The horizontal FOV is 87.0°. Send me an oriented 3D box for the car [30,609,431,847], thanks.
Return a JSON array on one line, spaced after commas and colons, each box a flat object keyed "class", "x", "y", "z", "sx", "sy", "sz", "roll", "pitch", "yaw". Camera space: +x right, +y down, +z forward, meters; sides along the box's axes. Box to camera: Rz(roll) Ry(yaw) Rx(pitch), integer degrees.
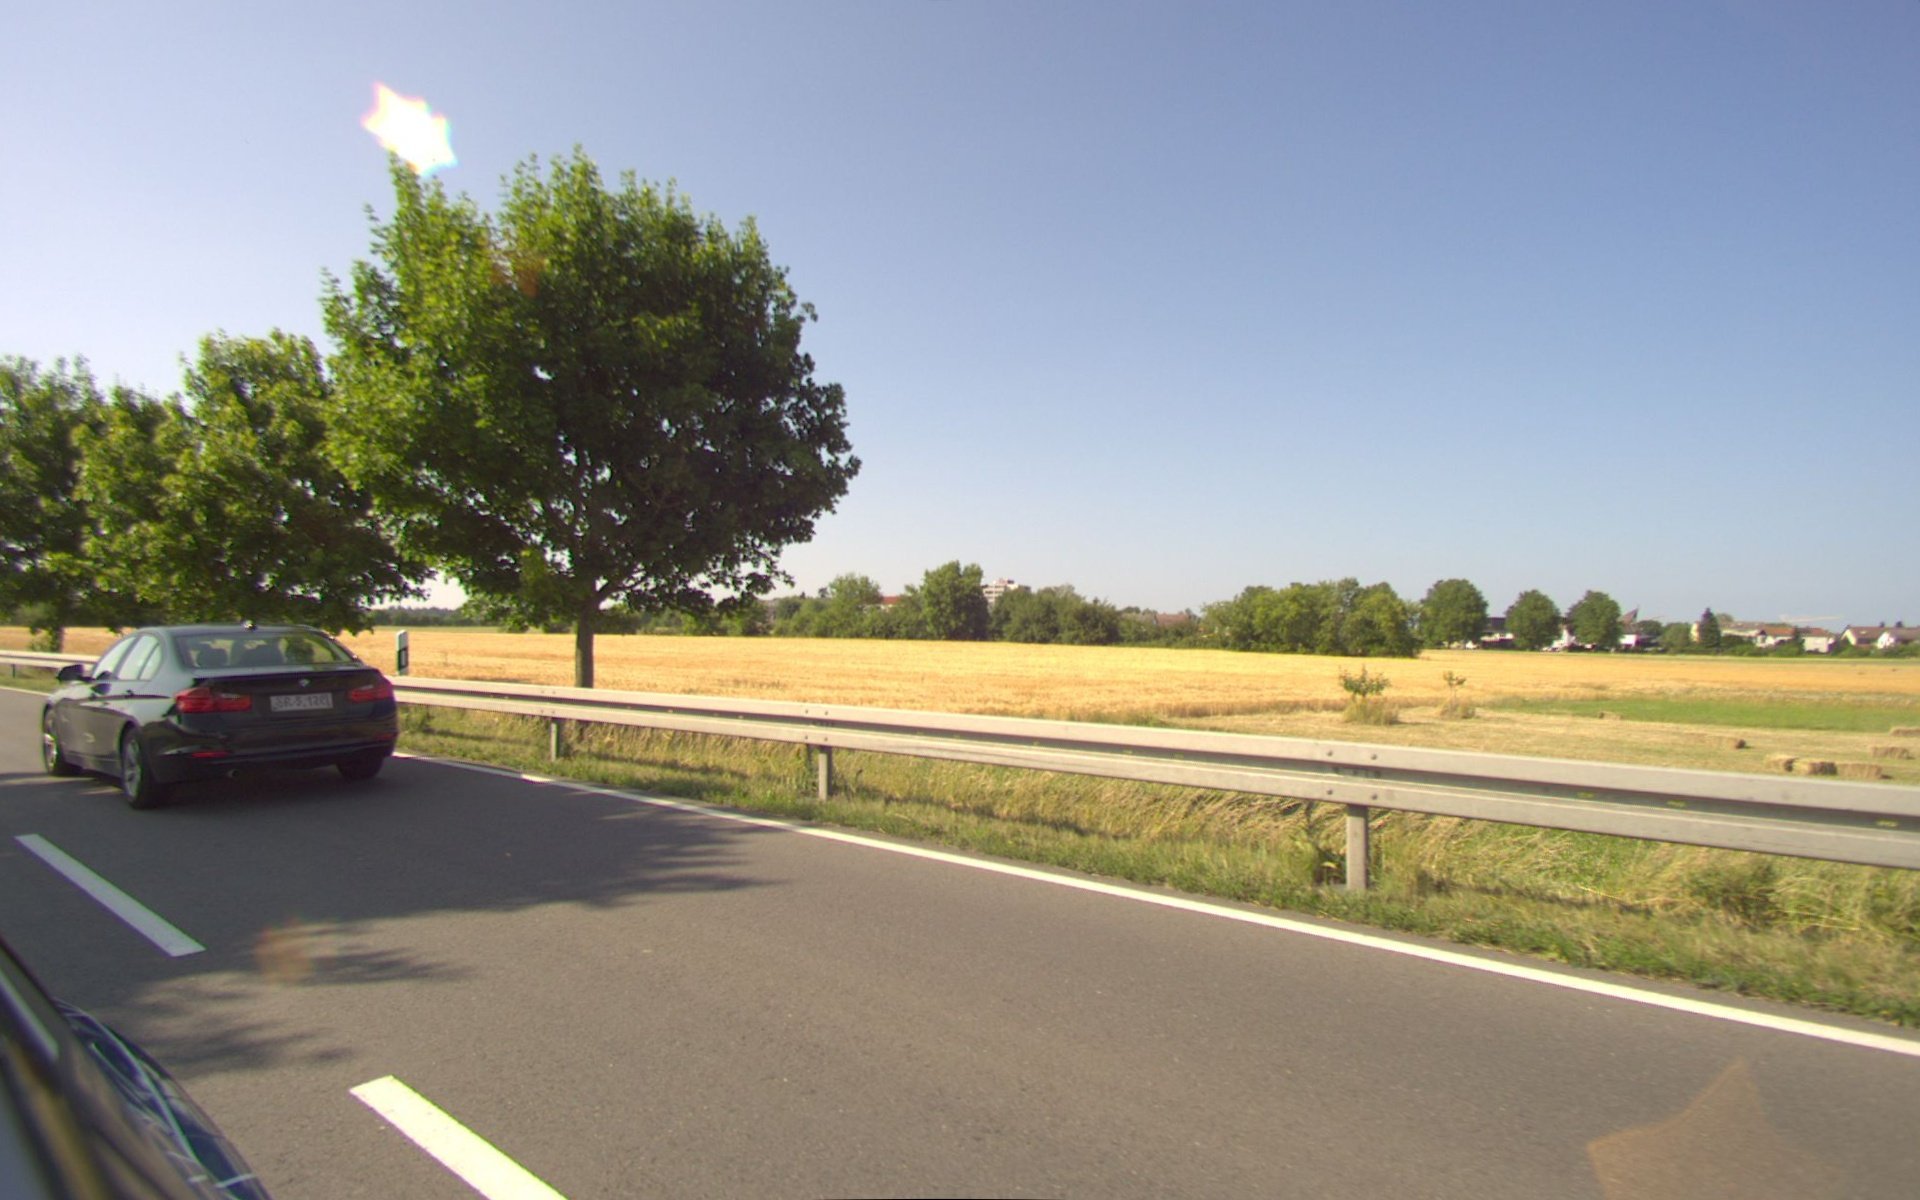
[{"class": "car", "x": -6.658, "y": 0.913, "z": 9.074, "sx": 4.239, "sy": 1.555, "sz": 1.820, "roll": 1, "pitch": 1, "yaw": 38}]
